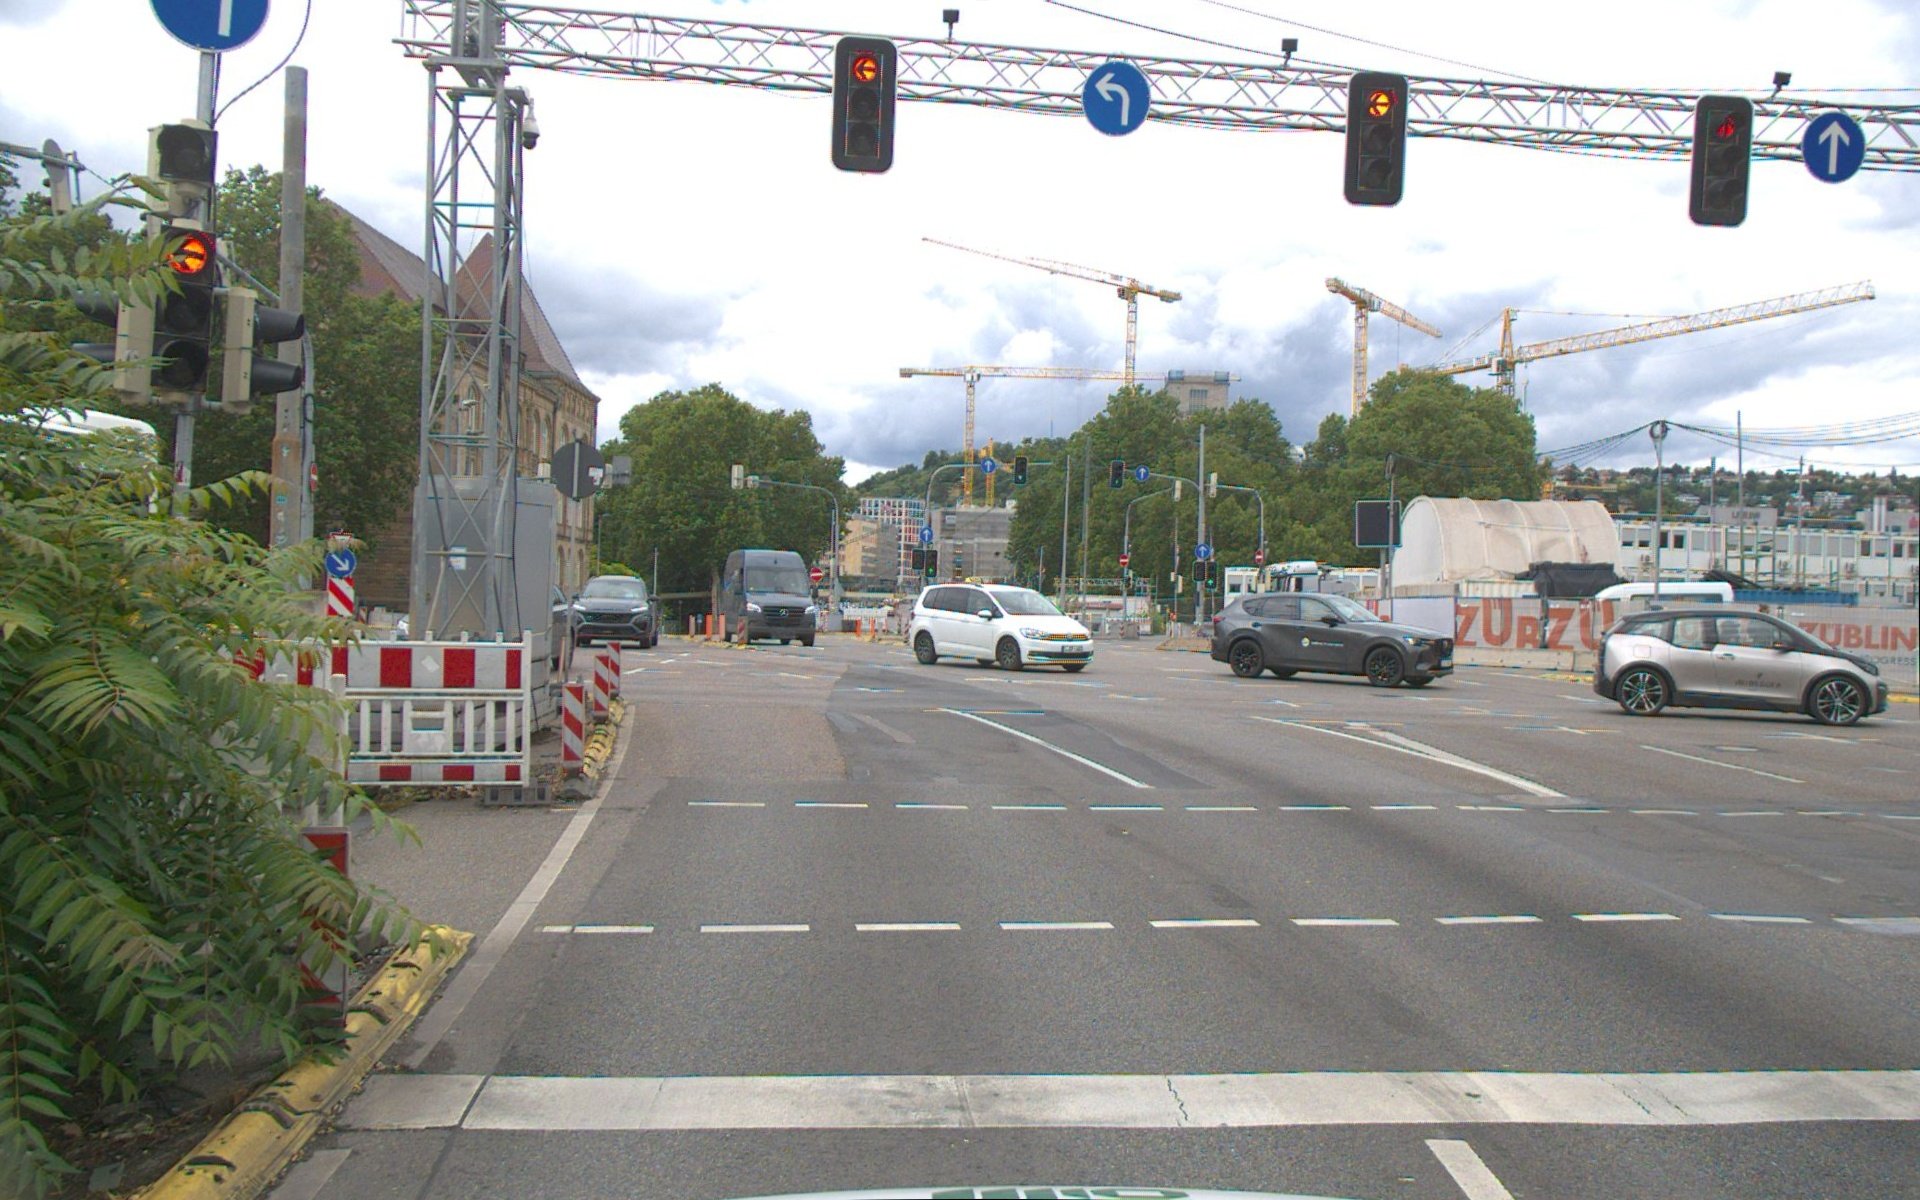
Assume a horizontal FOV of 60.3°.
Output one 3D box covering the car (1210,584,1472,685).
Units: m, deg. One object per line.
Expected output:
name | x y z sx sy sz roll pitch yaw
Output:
car | 7.268 0.613 31.738 4.521 1.699 1.876 2 1 38

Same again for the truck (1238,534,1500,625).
truck | 20.625 -0.964 83.248 12.838 4.111 3.926 1 0 -21

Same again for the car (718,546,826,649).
car | -5.326 -0.100 46.110 2.023 2.639 5.989 2 0 -15

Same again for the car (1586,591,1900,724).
car | 11.395 0.787 24.272 3.972 1.697 1.799 2 0 25

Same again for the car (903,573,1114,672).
car | 0.875 0.399 32.607 1.863 1.766 4.389 1 1 -36

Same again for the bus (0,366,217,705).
bus | -10.371 -0.632 15.244 2.787 3.168 9.122 2 0 0

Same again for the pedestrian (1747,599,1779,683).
pedestrian | 19.761 1.004 40.706 0.638 2.049 0.517 1 0 24

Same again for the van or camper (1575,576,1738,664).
van or camper | 20.483 0.566 48.806 4.123 2.398 2.002 2 0 14

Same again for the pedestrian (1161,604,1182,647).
pedestrian | 8.740 1.057 68.472 0.714 1.718 0.677 2 0 -1

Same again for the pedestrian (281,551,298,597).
pedestrian | -29.817 -1.154 73.532 0.523 2.049 0.421 2 0 -45

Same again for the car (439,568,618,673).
car | -6.890 0.280 26.867 1.840 1.498 4.443 2 1 -2

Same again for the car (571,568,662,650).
car | -7.812 0.164 37.491 1.845 1.699 4.430 2 1 -13
